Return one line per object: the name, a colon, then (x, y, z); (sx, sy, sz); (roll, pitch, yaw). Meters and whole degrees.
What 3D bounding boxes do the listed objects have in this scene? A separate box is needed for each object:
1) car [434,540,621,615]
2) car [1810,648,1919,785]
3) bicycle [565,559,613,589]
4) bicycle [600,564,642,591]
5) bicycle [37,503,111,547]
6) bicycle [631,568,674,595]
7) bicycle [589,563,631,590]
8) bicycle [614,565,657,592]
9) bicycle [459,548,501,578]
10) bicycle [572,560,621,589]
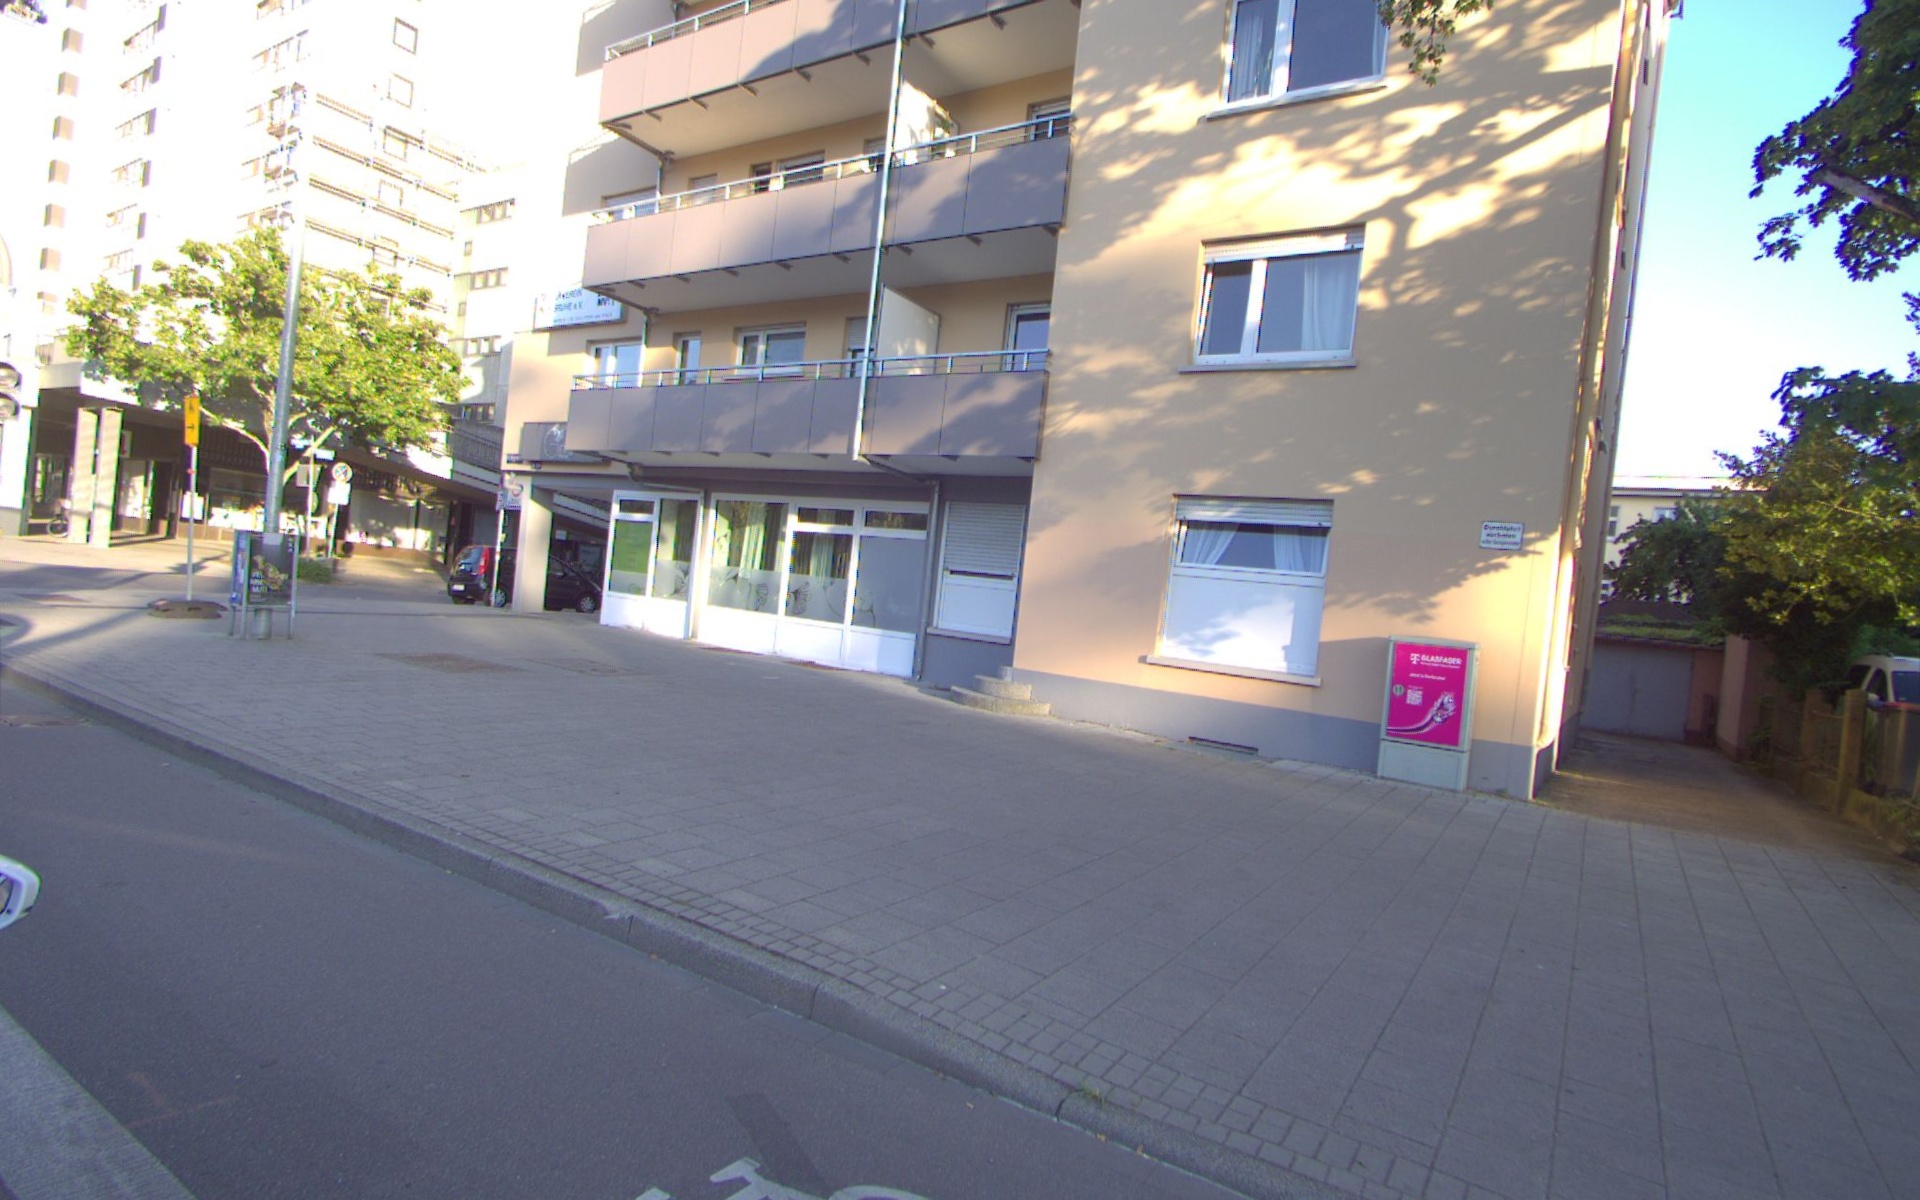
car: (-10.882, -0.528, 25.557); (1.680, 1.605, 4.037); (3, -1, 36)
car: (14.576, 1.740, 14.972); (1.794, 1.780, 4.513); (8, 2, 27)
bicycle: (-17.009, -1.201, 46.105); (1.939, 1.087, 0.584); (7, -2, 13)
bicycle: (-15.970, -1.066, 47.398); (1.943, 1.086, 0.582); (6, -3, 29)
bicycle: (-28.986, -2.452, 32.911); (1.984, 1.162, 0.692); (7, -2, 14)
bicycle: (-14.972, -0.886, 48.939); (1.941, 1.087, 0.583); (6, -2, 21)
bicycle: (-16.336, -1.101, 46.960); (1.943, 1.086, 0.582); (6, -3, 29)
bicycle: (-15.396, -1.020, 47.751); (1.942, 1.087, 0.583); (6, -3, 26)
bicycle: (-20.200, -1.568, 42.336); (1.946, 1.086, 0.581); (5, -3, 35)
bicycle: (-16.819, -1.172, 46.548); (1.939, 1.086, 0.584); (7, -2, 9)
